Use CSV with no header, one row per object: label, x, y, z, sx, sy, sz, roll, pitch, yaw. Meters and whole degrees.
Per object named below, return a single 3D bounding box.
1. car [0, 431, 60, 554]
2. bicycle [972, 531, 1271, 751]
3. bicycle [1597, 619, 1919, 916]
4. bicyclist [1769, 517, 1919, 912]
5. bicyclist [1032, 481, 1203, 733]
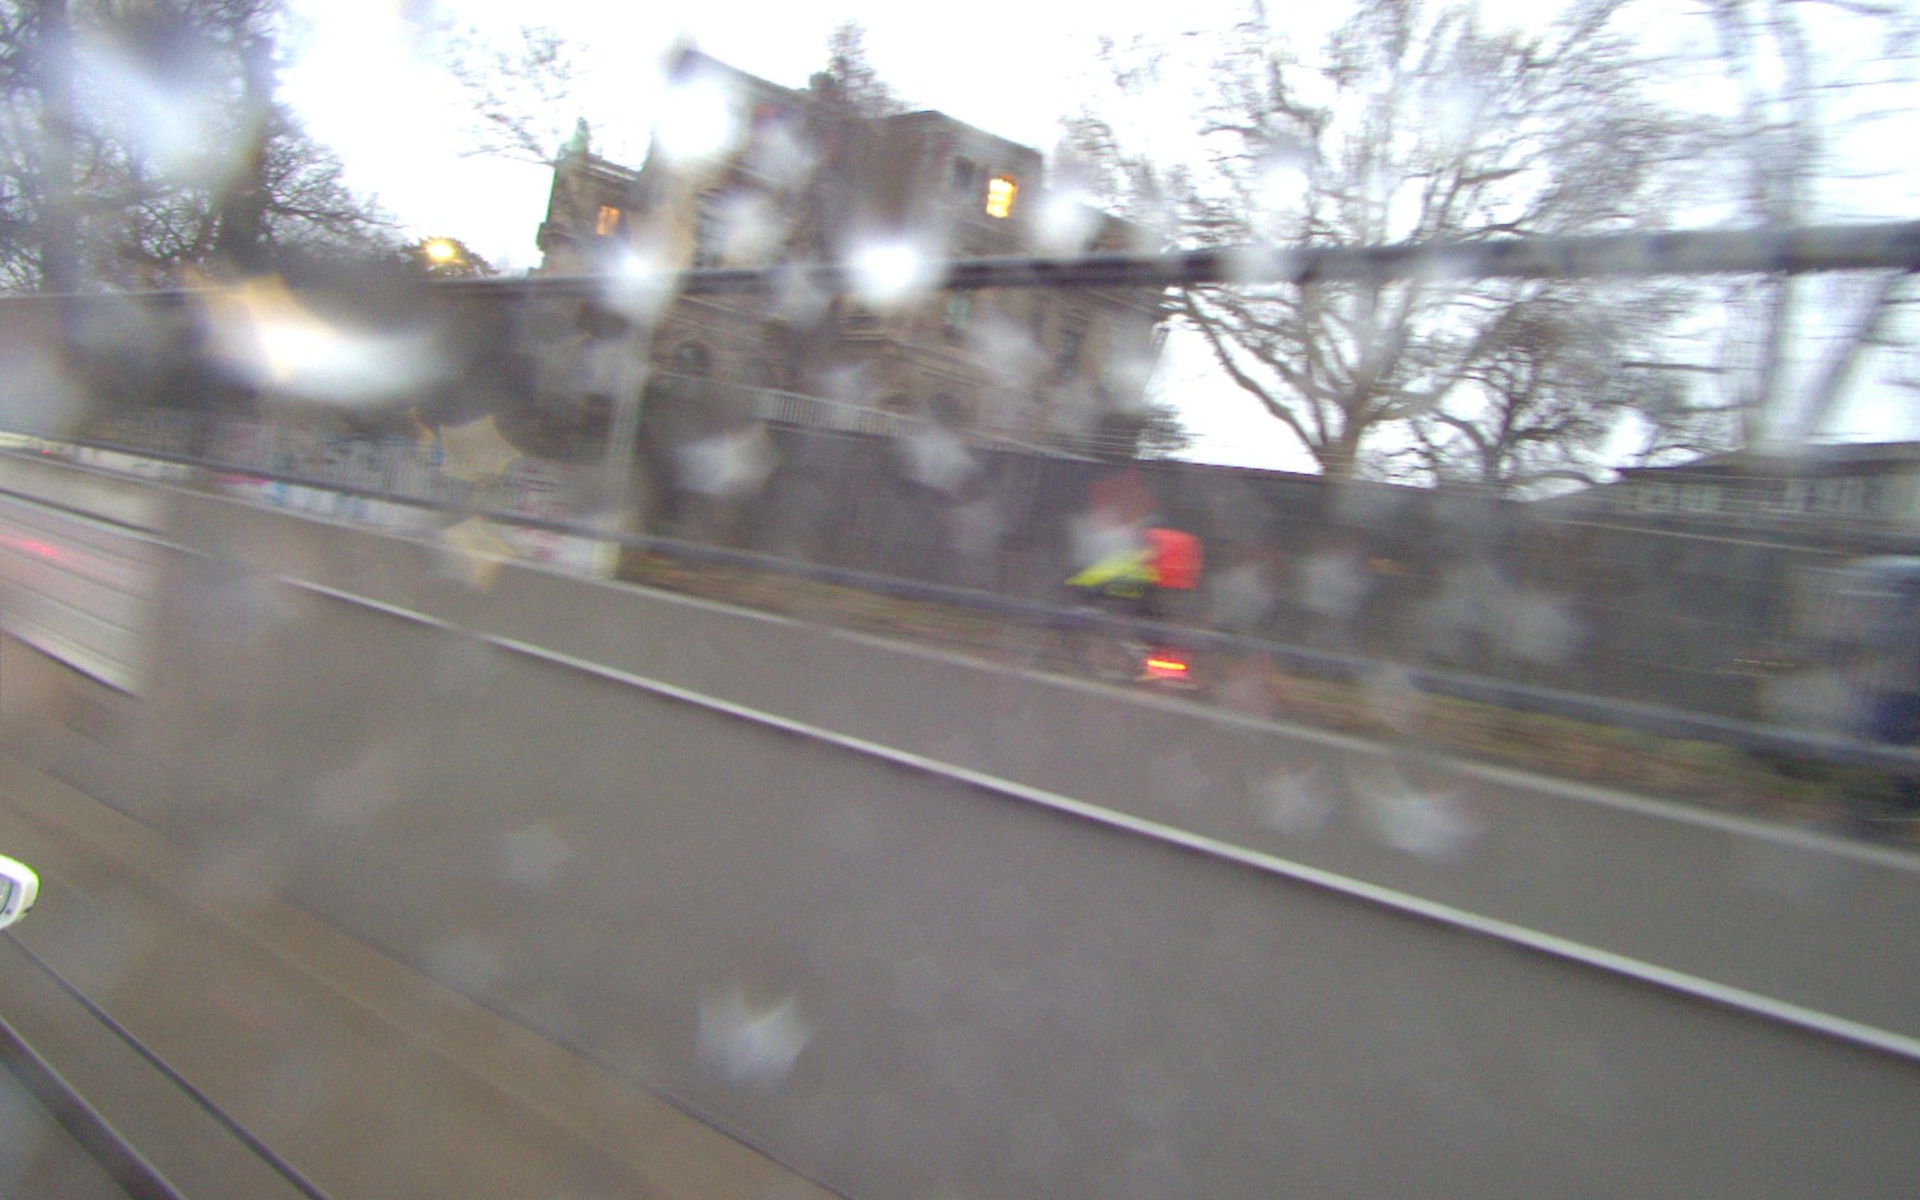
car,-14.095,-1.705,13.706,3.935,1.496,1.725,9,-1,34
bicycle,1.095,0.248,7.127,1.915,1.200,0.412,10,2,31
bicycle,4.454,0.860,5.007,1.995,1.200,0.412,10,2,31
bicyclist,4.637,0.565,4.851,0.823,1.789,0.500,10,2,31
bicyclist,1.107,0.043,7.092,0.823,1.611,0.500,10,2,31
